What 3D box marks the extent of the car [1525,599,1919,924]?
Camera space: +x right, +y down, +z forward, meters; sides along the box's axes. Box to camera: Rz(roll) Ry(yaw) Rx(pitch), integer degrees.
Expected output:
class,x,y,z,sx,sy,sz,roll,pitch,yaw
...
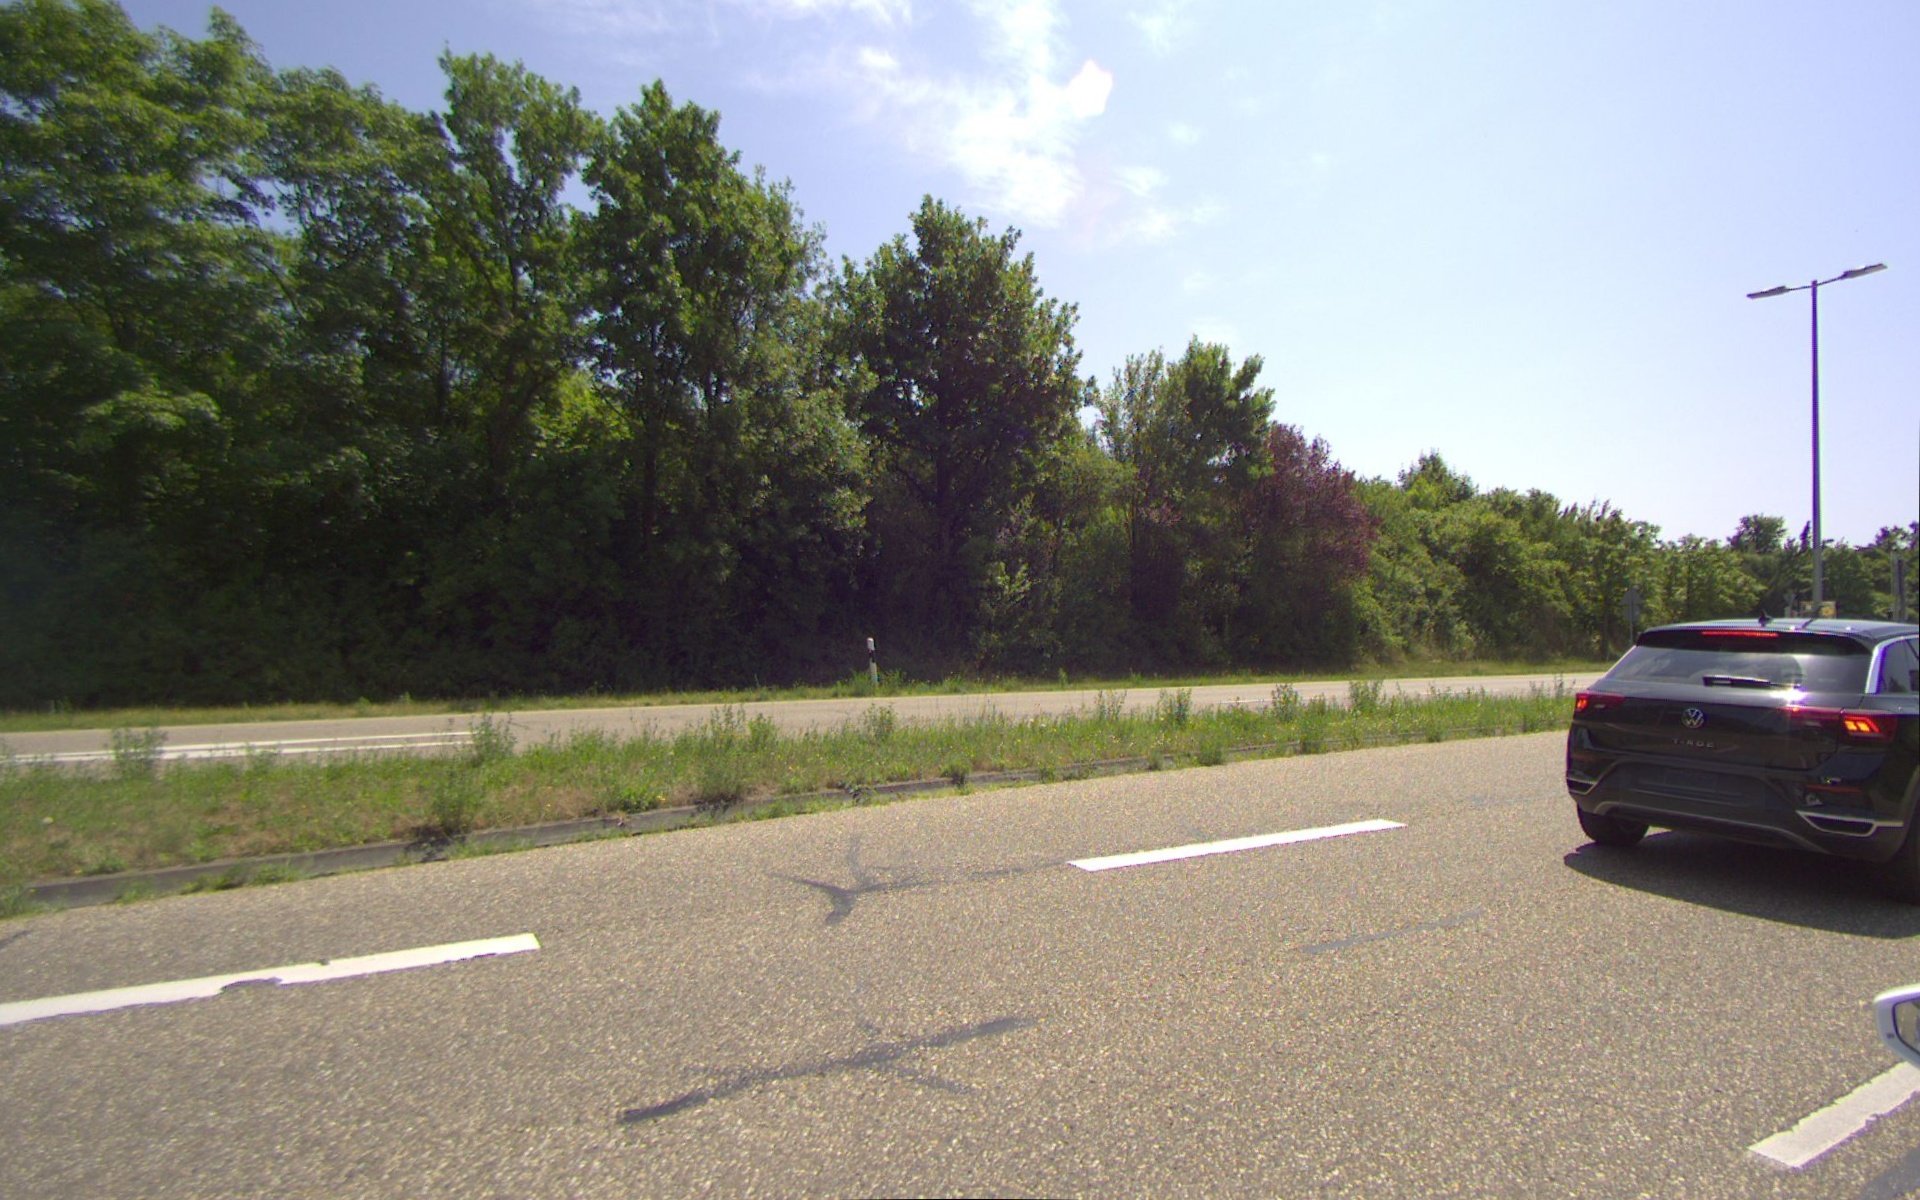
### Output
class,x,y,z,sx,sy,sz,roll,pitch,yaw
car,5.746,0.838,6.646,3.953,1.576,1.747,2,-1,-30

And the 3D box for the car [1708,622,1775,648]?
class,x,y,z,sx,sy,sz,roll,pitch,yaw
car,62.121,2.758,79.867,1.985,1.855,3.950,2,0,-42
